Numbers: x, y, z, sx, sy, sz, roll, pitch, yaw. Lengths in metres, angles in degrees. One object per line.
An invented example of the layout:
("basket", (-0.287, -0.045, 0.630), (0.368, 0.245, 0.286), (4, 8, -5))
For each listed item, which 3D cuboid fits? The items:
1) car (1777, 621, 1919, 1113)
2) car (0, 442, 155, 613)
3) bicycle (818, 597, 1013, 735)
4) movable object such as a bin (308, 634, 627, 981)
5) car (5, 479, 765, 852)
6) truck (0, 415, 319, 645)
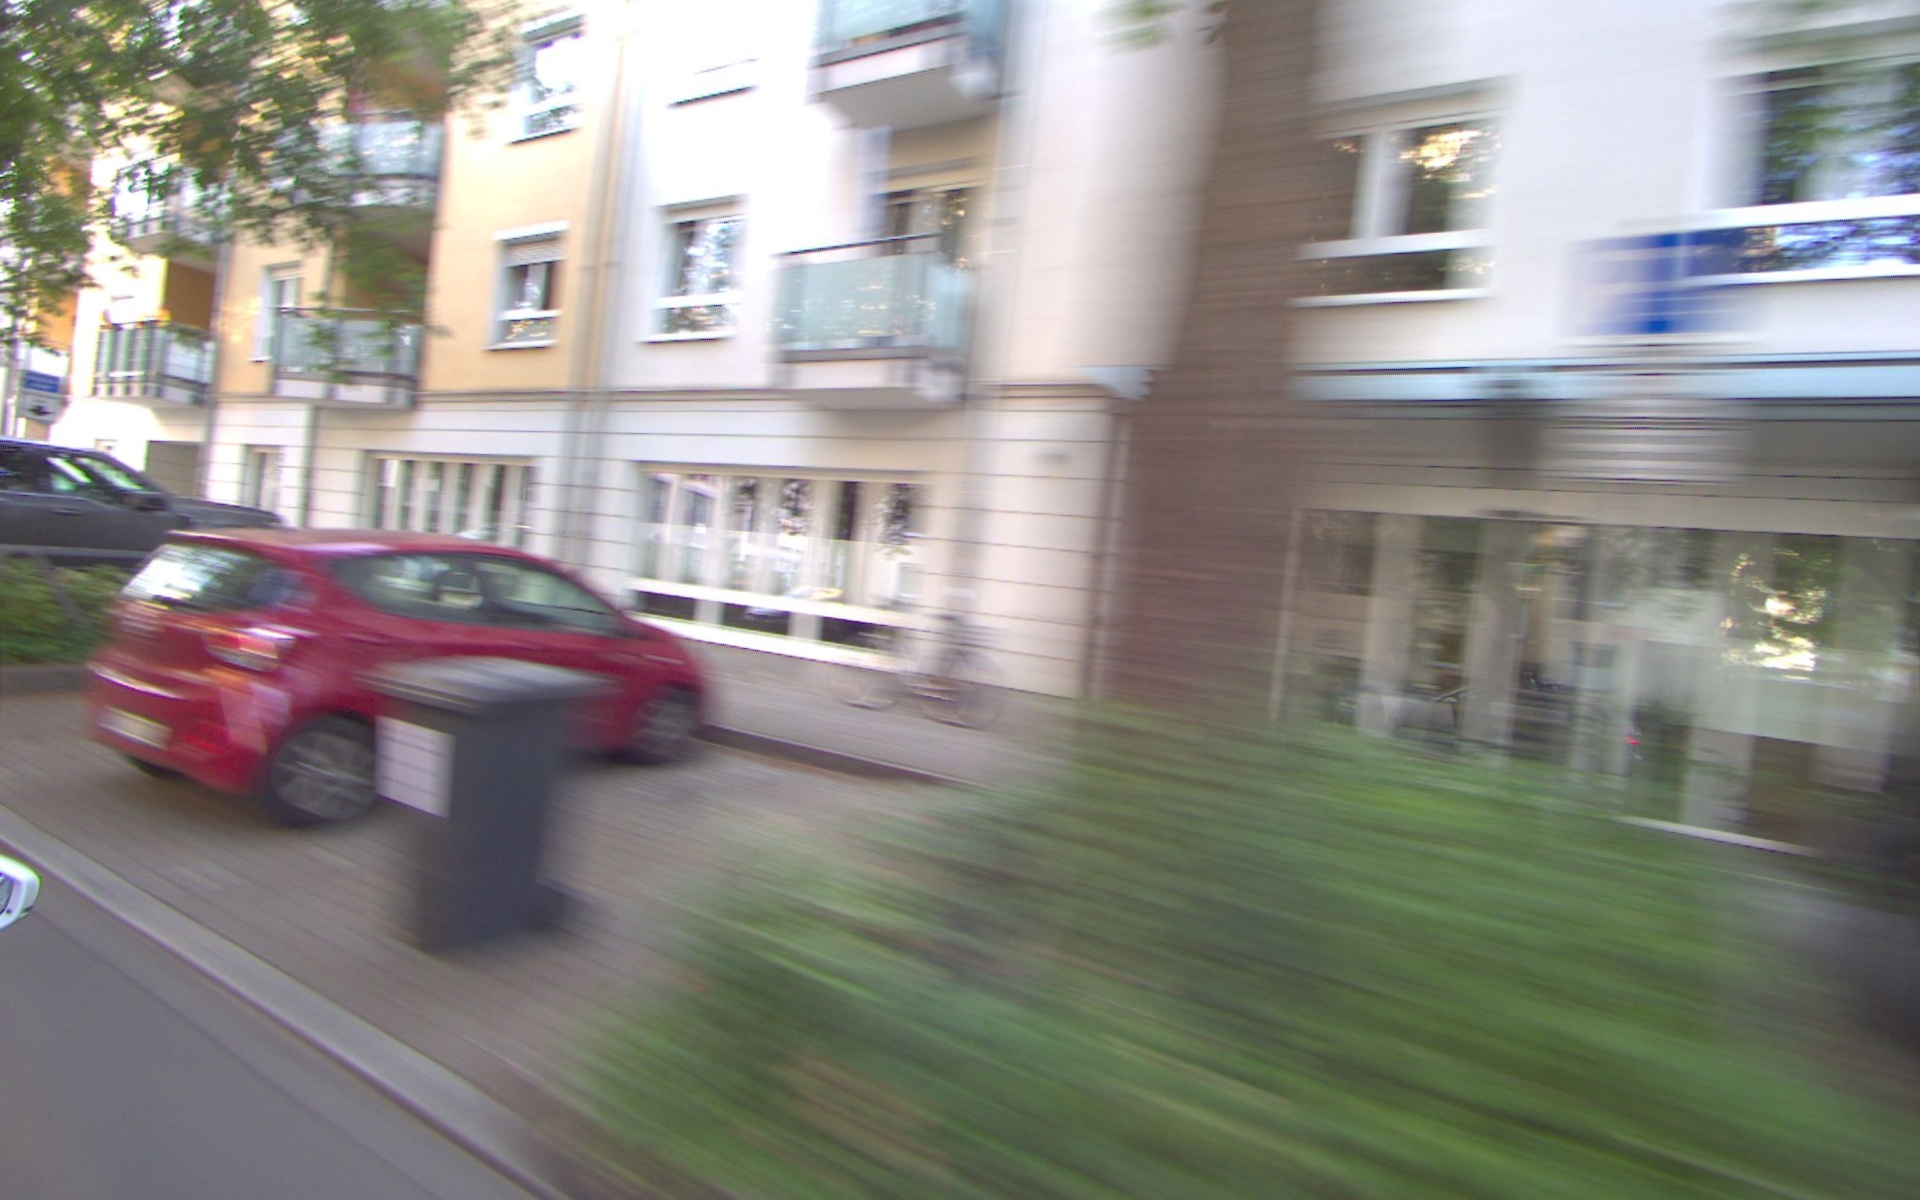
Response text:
("car", (3.915, 0.994, 2.405), (1.975, 1.639, 4.645), (7, 3, 27))
("car", (-13.561, -1.117, 12.793), (2.160, 2.092, 4.607), (7, 0, 30))
("bicycle", (-0.459, 0.597, 9.589), (1.851, 1.050, 0.424), (7, 2, 32))
("movable object such as a bin", (-1.911, 0.730, 3.937), (0.772, 1.098, 0.761), (7, 2, 32))
("car", (-3.271, 0.273, 6.468), (1.846, 1.565, 3.777), (7, 2, 30))
("truck", (-11.163, -0.893, 11.560), (2.176, 2.339, 5.895), (7, -1, 32))
